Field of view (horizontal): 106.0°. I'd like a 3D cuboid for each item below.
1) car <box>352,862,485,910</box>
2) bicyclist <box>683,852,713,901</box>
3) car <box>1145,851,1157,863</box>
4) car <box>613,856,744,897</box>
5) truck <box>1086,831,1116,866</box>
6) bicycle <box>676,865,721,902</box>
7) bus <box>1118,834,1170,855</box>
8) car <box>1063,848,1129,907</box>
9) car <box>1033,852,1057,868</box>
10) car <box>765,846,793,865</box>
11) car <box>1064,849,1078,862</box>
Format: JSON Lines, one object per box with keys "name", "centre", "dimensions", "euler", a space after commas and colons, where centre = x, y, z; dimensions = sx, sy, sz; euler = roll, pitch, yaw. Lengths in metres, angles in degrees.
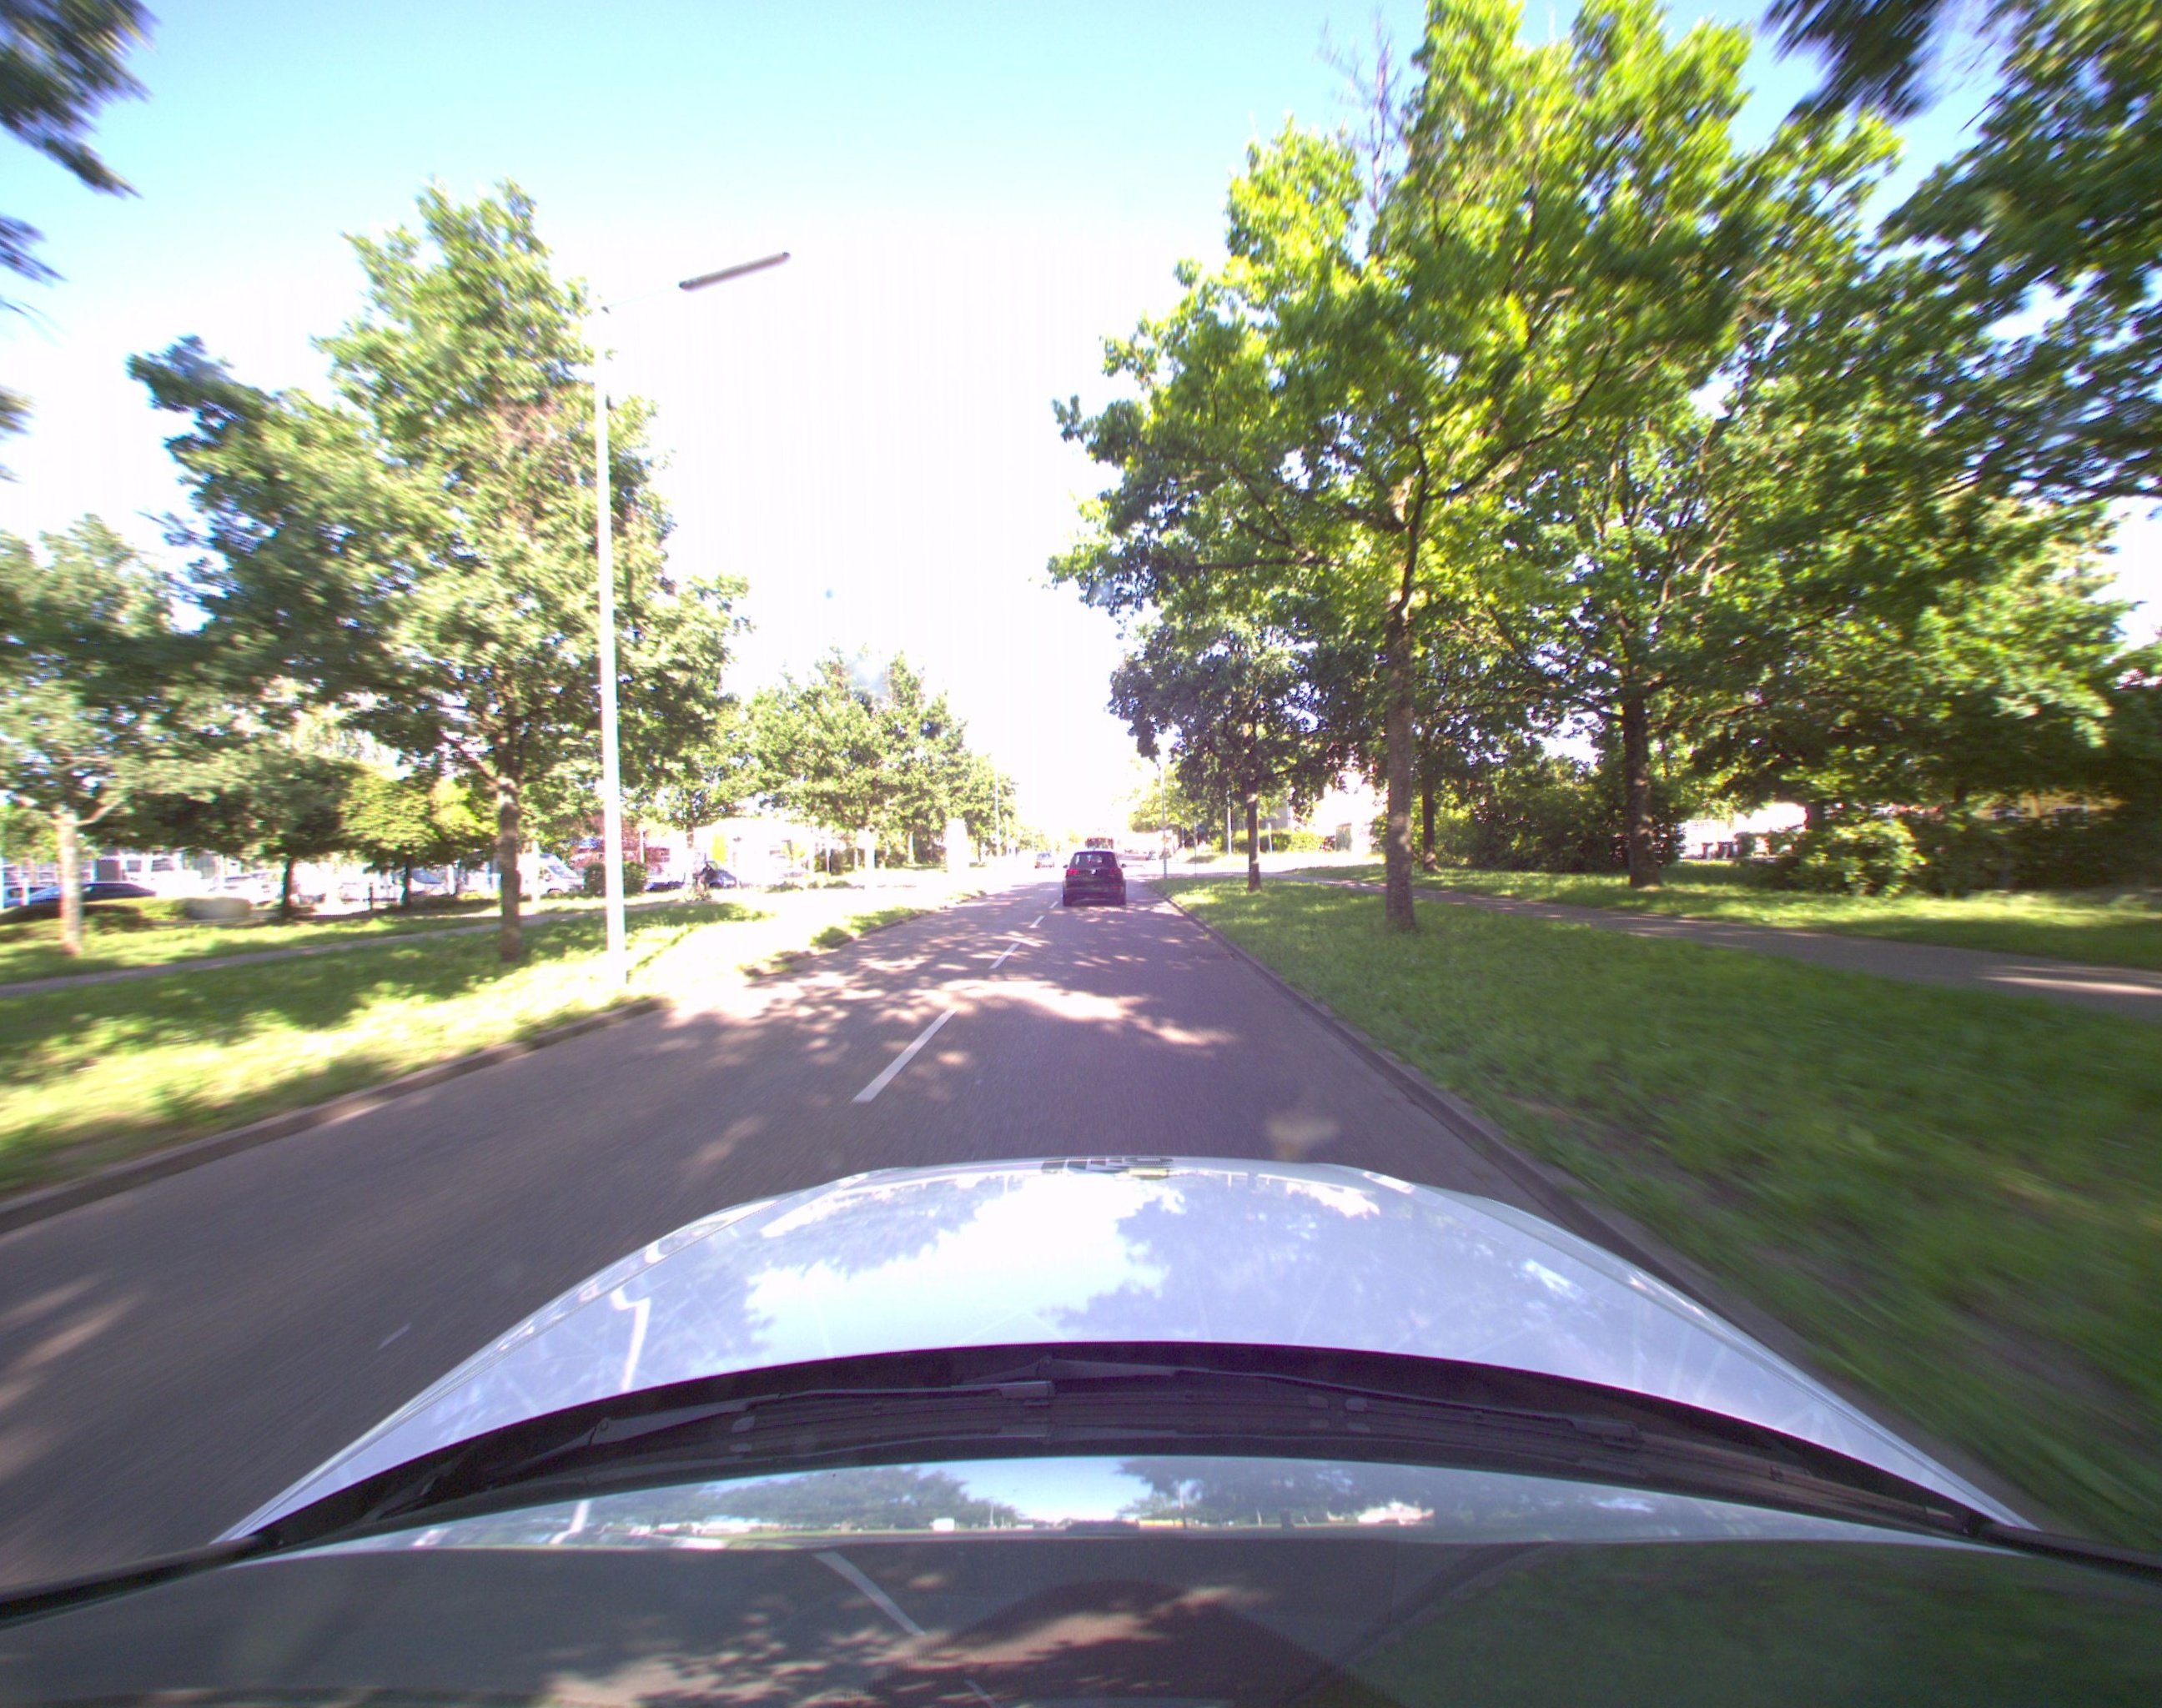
{"name": "car", "centre": [-24.403, 1.163, 30.068], "dimensions": [3.340, 1.642, 2.004], "euler": [0, 0, 7]}
{"name": "bicyclist", "centre": [-14.626, 0.854, 31.119], "dimensions": [0.683, 1.831, 0.934], "euler": [0, 0, 1]}
{"name": "car", "centre": [9.051, 0.375, 105.196], "dimensions": [1.446, 1.406, 2.858], "euler": [0, 0, 3]}
{"name": "car", "centre": [-21.146, 1.170, 43.020], "dimensions": [5.786, 2.013, 1.995], "euler": [-1, 0, -8]}
{"name": "truck", "centre": [2.092, -0.561, 81.505], "dimensions": [2.500, 3.243, 8.162], "euler": [-2, 0, 4]}
{"name": "bicycle", "centre": [-14.606, 1.109, 31.188], "dimensions": [0.714, 1.321, 1.992], "euler": [0, 0, 2]}
{"name": "bus", "centre": [11.604, -1.734, 150.825], "dimensions": [9.095, 3.778, 3.379], "euler": [-1, 0, -7]}
{"name": "car", "centre": [0.535, 0.647, 24.812], "dimensions": [1.774, 1.633, 4.005], "euler": [0, 0, 4]}
{"name": "car", "centre": [-3.532, 0.581, 80.153], "dimensions": [1.986, 1.455, 4.002], "euler": [-2, 0, 2]}
{"name": "car", "centre": [-35.846, 0.155, 96.752], "dimensions": [1.989, 2.236, 3.995], "euler": [-2, 0, -4]}
{"name": "car", "centre": [-1.560, 0.189, 124.126], "dimensions": [1.989, 2.013, 3.996], "euler": [-1, 0, -3]}
